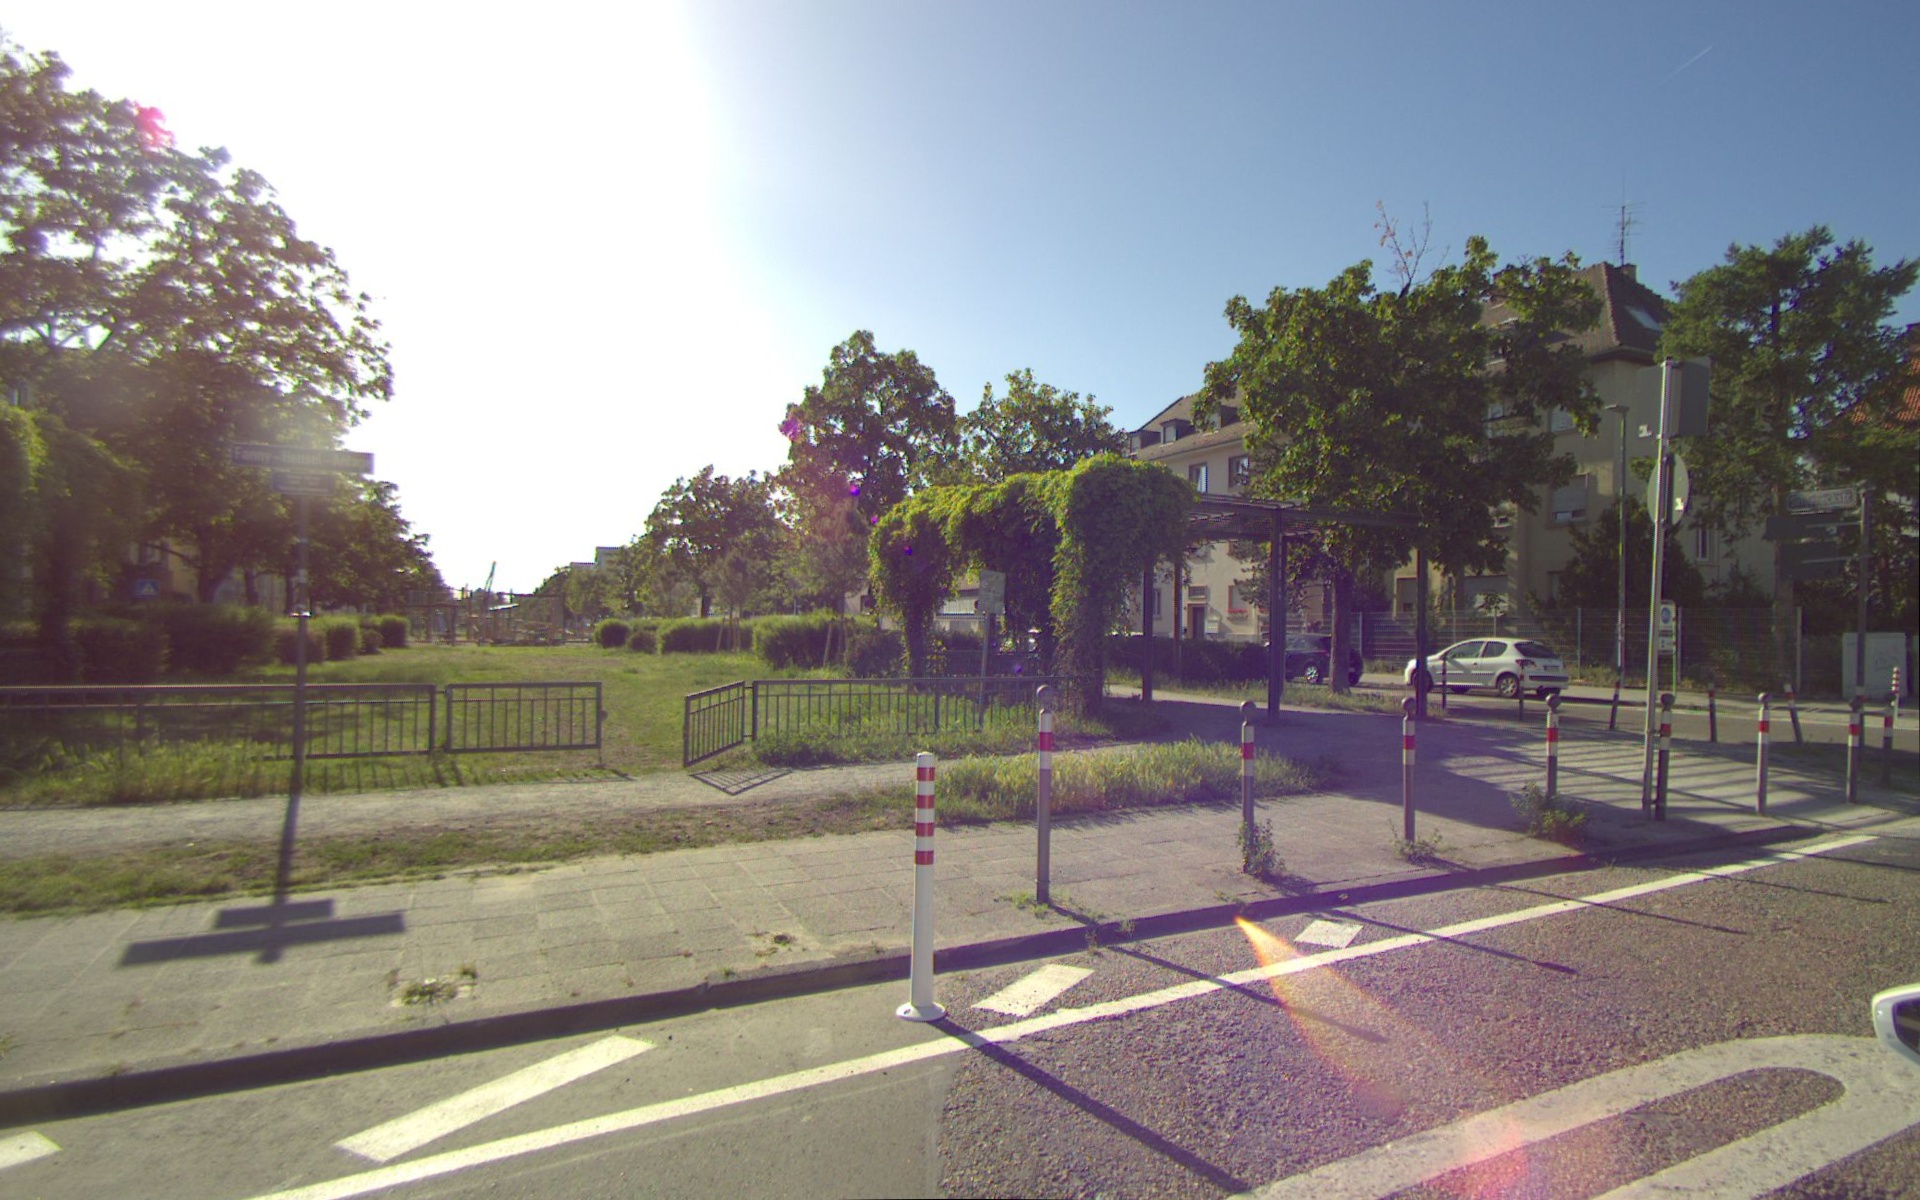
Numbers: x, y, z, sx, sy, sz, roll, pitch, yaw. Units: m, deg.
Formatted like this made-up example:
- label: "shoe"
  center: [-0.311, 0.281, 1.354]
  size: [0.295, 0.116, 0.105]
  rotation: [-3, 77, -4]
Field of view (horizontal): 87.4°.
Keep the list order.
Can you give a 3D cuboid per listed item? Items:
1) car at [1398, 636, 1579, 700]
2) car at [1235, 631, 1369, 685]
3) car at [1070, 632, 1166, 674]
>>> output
- label: "car"
  center: [13.087, 1.655, 25.113]
  size: [1.685, 1.416, 3.752]
  rotation: [2, -2, -26]
- label: "car"
  center: [10.285, 1.718, 30.425]
  size: [1.655, 1.514, 3.802]
  rotation: [2, -2, -26]
- label: "car"
  center: [6.143, 2.068, 39.556]
  size: [1.777, 1.514, 3.974]
  rotation: [2, -2, -26]
